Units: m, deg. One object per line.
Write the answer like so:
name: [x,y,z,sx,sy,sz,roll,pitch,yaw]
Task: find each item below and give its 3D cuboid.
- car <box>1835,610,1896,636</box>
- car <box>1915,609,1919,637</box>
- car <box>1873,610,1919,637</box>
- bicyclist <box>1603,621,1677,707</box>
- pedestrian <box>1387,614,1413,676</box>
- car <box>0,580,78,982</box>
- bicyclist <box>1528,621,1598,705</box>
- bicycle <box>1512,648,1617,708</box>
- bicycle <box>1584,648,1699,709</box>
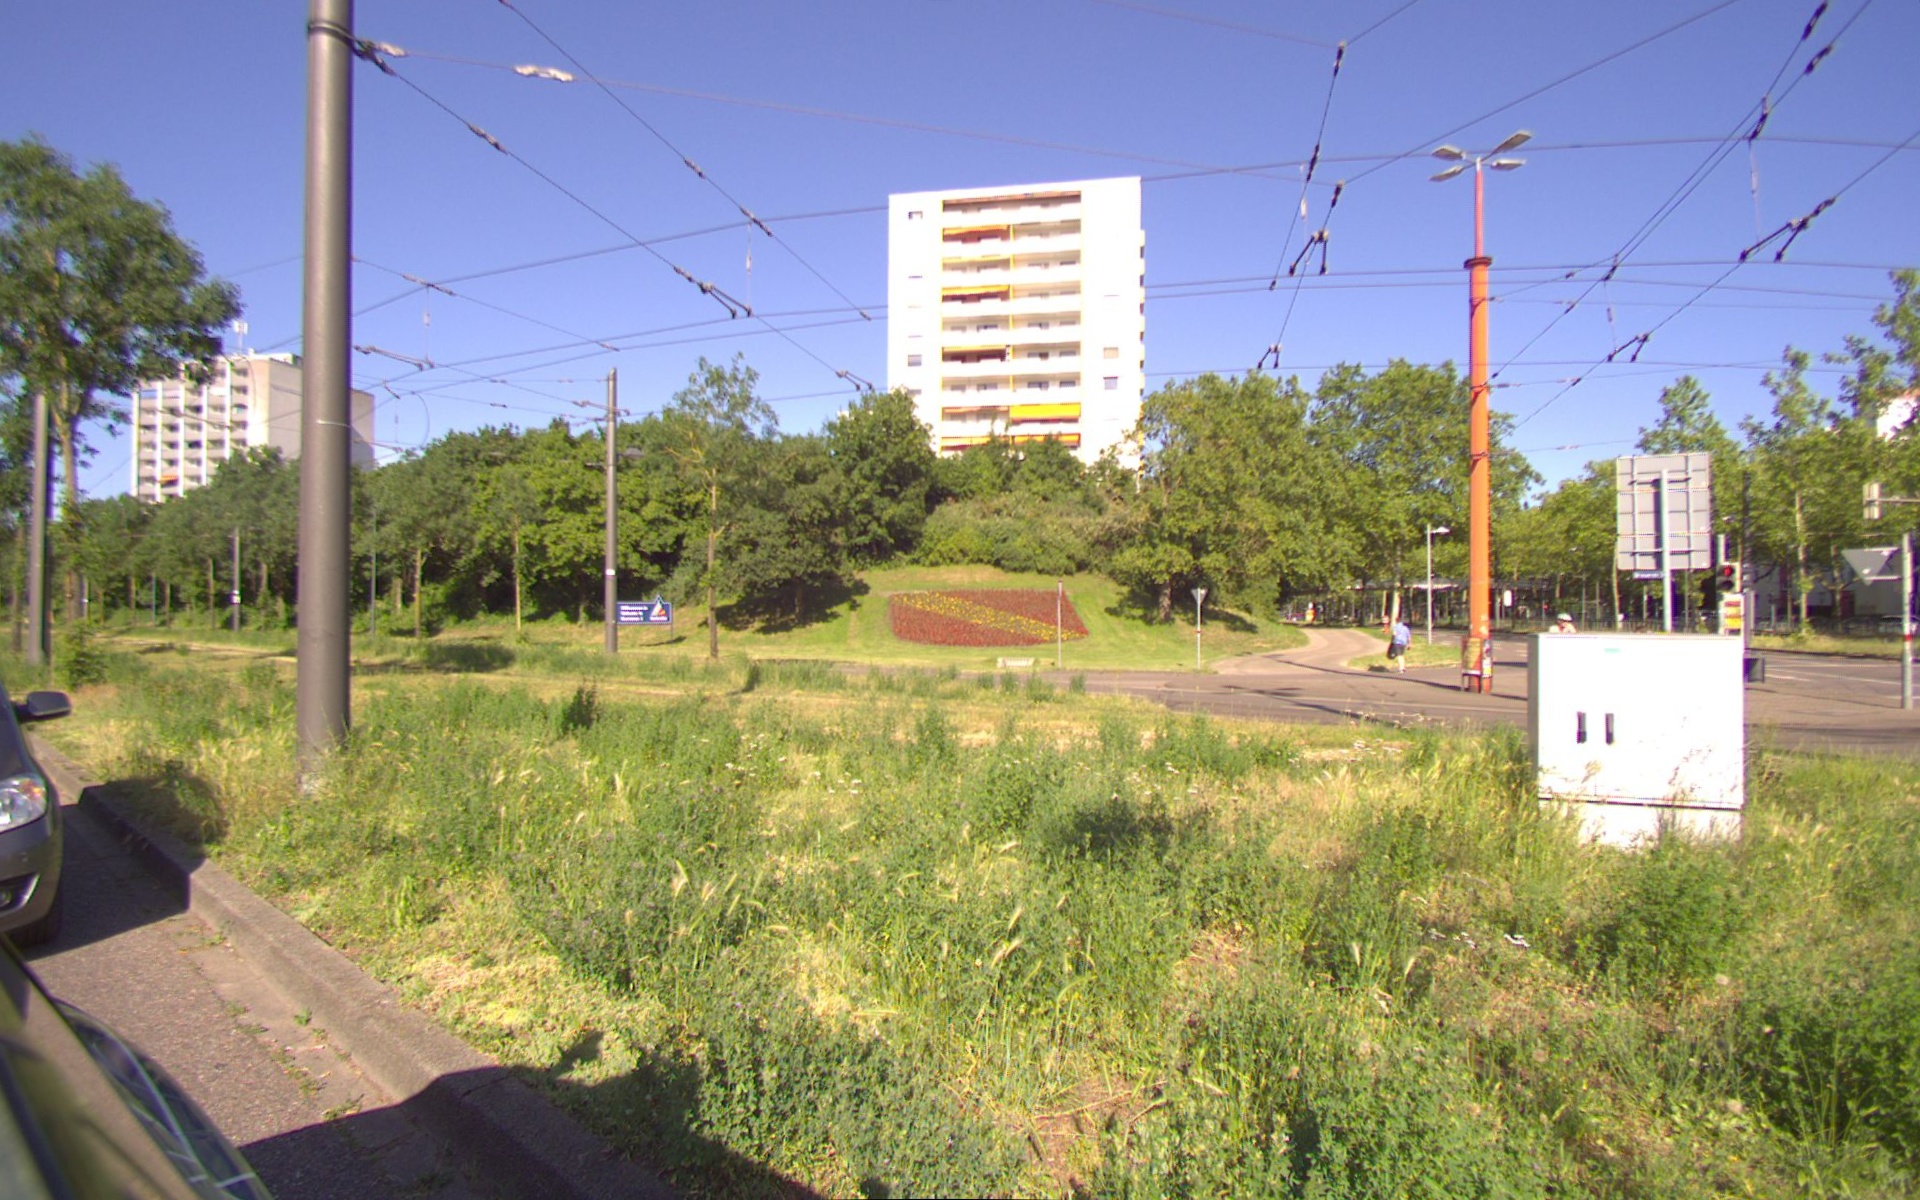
car: [66.006,1.695,73.766,3.931,1.829,2.006,0,-2,-27]
car: [64.397,1.501,65.908,3.931,1.829,2.006,0,-2,-27]
car: [65.239,1.638,69.870,3.931,1.829,2.006,0,-2,-27]
bicyclist: [13.349,1.239,19.882,0.920,1.650,0.741,0,-1,-1]
pedestrian: [14.014,1.433,32.218,0.729,1.949,0.726,-1,-2,24]
car: [-5.944,0.754,5.041,4.382,1.619,1.754,-1,-2,41]
bicyclist: [12.091,1.257,20.301,0.920,1.650,0.741,0,-1,-1]
bicycle: [12.087,1.534,20.317,0.915,1.095,1.888,0,-1,-2]
bicycle: [13.352,1.519,19.915,0.915,1.095,1.888,0,-1,-2]
